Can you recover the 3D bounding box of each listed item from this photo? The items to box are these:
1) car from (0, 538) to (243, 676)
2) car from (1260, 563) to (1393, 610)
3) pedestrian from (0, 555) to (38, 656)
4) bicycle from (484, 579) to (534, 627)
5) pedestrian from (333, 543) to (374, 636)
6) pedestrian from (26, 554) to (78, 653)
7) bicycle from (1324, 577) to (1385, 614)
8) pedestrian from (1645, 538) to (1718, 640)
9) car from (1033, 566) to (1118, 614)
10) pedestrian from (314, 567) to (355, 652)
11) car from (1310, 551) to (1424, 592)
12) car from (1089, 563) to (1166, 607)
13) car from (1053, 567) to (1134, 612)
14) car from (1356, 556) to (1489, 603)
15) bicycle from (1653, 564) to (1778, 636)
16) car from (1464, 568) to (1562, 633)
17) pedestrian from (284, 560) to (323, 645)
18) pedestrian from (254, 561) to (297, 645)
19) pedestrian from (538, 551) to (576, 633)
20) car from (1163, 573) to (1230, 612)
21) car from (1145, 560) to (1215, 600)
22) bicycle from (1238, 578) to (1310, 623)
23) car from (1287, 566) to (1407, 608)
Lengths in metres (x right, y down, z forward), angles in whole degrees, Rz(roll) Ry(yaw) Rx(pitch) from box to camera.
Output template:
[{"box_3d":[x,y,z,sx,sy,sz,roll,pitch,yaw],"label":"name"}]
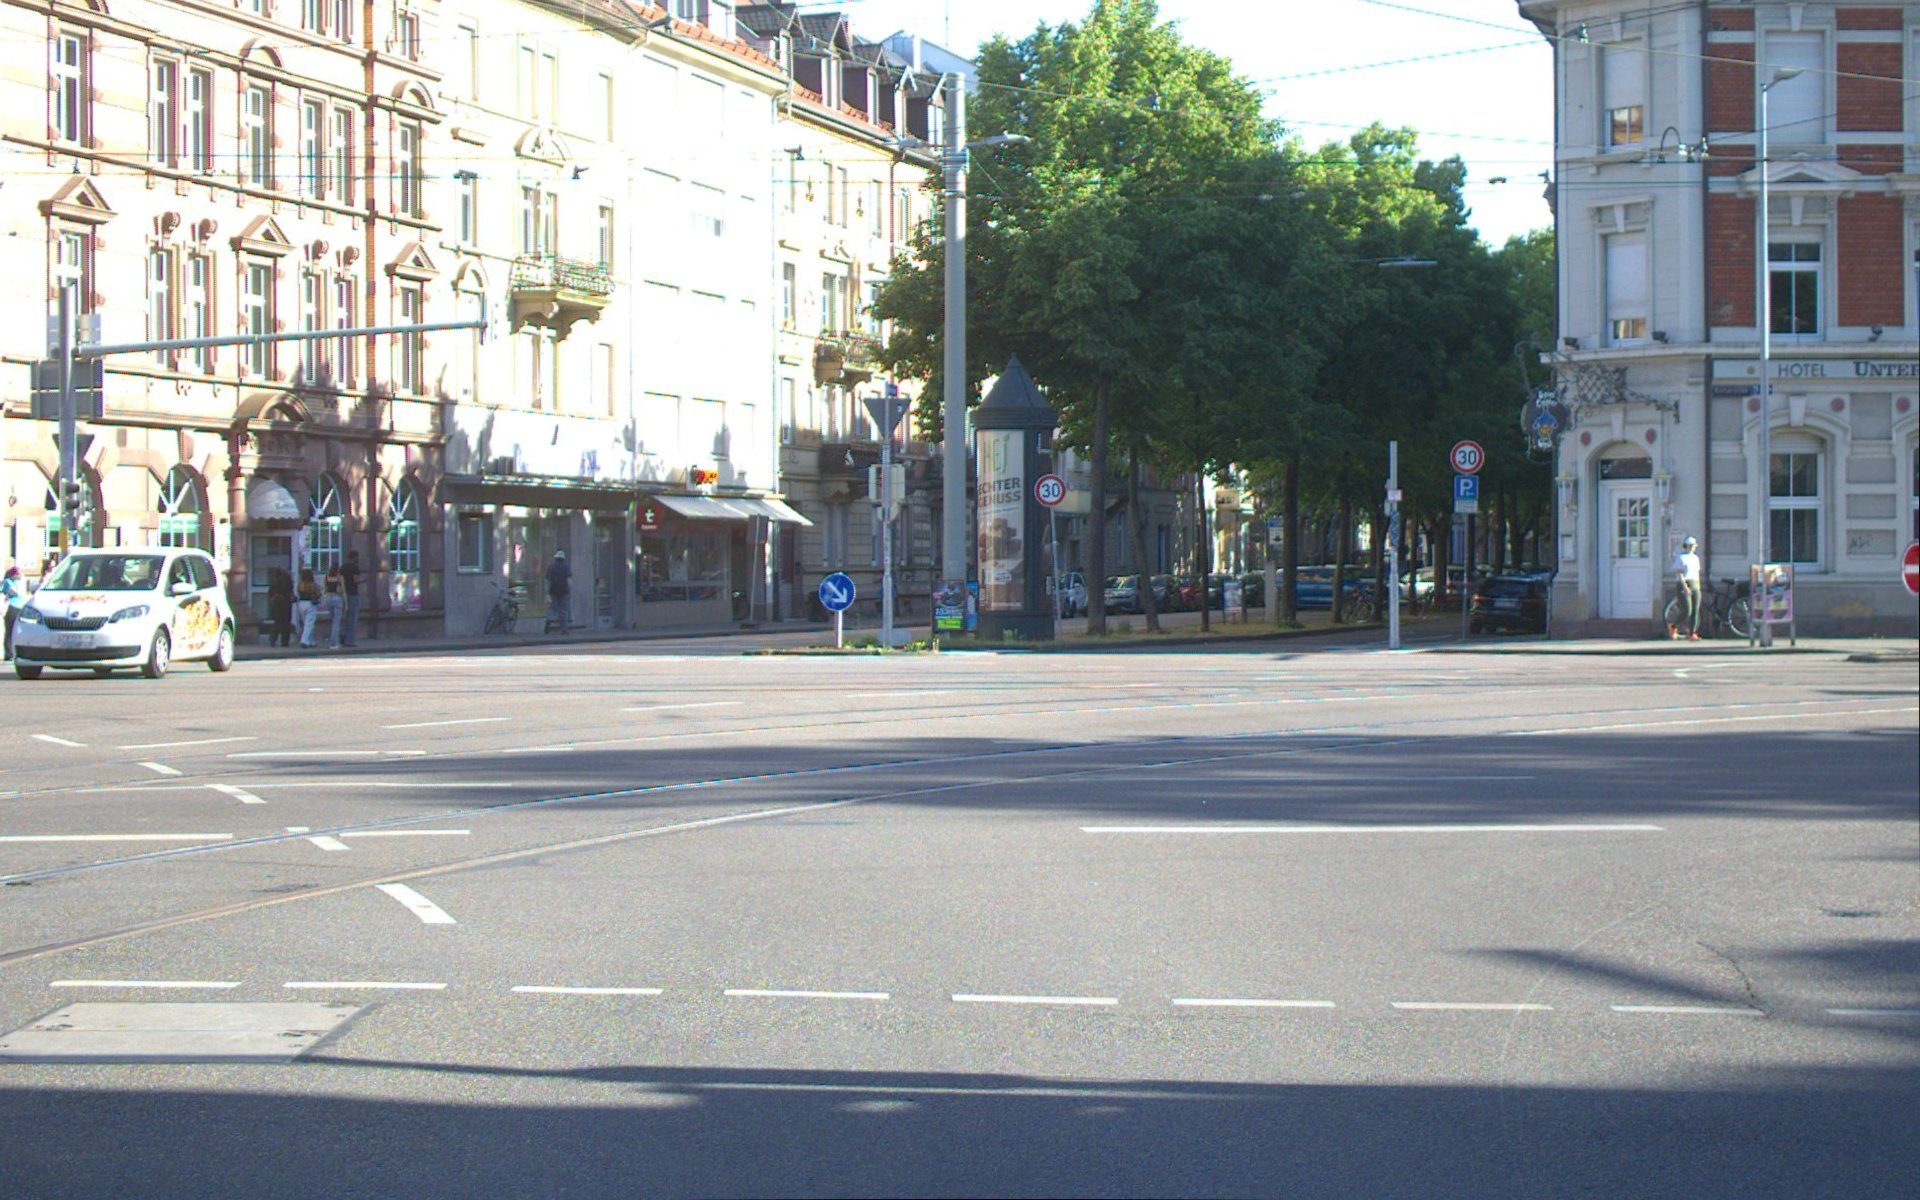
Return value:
[{"box_3d":[-9.535,0.043,39.084,1.718,1.492,3.583,0,1,5],"label":"car"},{"box_3d":[12.322,-0.458,115.653,3.993,1.540,1.997,0,1,28],"label":"car"},{"box_3d":[-15.434,0.083,55.861,0.675,1.636,0.578,0,1,13],"label":"pedestrian"},{"box_3d":[-10.429,0.068,79.543,0.495,1.063,1.768,0,1,16],"label":"bicycle"},{"box_3d":[-12.013,-0.208,68.102,0.580,1.830,0.632,0,1,16],"label":"pedestrian"},{"box_3d":[-15.108,0.063,57.216,0.631,1.636,0.552,0,1,13],"label":"pedestrian"},{"box_3d":[11.380,-0.136,99.240,0.582,1.063,1.949,-1,1,-37],"label":"bicycle"},{"box_3d":[11.822,-0.189,56.311,0.938,1.664,0.716,0,1,42],"label":"pedestrian"},{"box_3d":[3.810,-0.342,112.863,1.995,1.492,4.031,0,1,14],"label":"car"},{"box_3d":[-12.175,0.179,66.895,0.551,1.636,0.632,0,1,16],"label":"pedestrian"},{"box_3d":[15.919,-1.116,134.406,3.993,1.540,1.997,0,1,28],"label":"car"},{"box_3d":[5.978,-0.547,122.584,1.995,1.492,4.031,0,1,14],"label":"car"},{"box_3d":[4.586,-0.376,117.349,1.995,1.492,4.031,0,1,14],"label":"car"},{"box_3d":[15.662,-0.700,116.491,3.994,1.540,1.997,0,1,31],"label":"car"},{"box_3d":[12.557,-0.004,57.166,1.961,1.186,0.546,0,1,5],"label":"bicycle"},{"box_3d":[13.271,-0.006,82.405,1.995,1.492,4.031,0,1,14],"label":"car"},{"box_3d":[-12.780,0.051,66.951,0.551,1.636,0.537,0,1,15],"label":"pedestrian"},{"box_3d":[-13.322,0.056,66.875,0.627,1.636,0.537,0,1,18],"label":"pedestrian"},{"box_3d":[-9.316,-0.189,79.435,0.682,1.902,0.632,0,1,16],"label":"pedestrian"},{"box_3d":[9.414,-0.318,136.521,1.995,1.492,4.031,0,1,14],"label":"car"},{"box_3d":[8.488,-0.780,132.105,1.995,1.492,4.031,0,1,14],"label":"car"},{"box_3d":[7.549,0.002,82.747,0.582,1.063,1.949,-1,1,-37],"label":"bicycle"},{"box_3d":[14.445,-0.499,128.294,3.993,1.540,1.997,0,1,28],"label":"car"}]
